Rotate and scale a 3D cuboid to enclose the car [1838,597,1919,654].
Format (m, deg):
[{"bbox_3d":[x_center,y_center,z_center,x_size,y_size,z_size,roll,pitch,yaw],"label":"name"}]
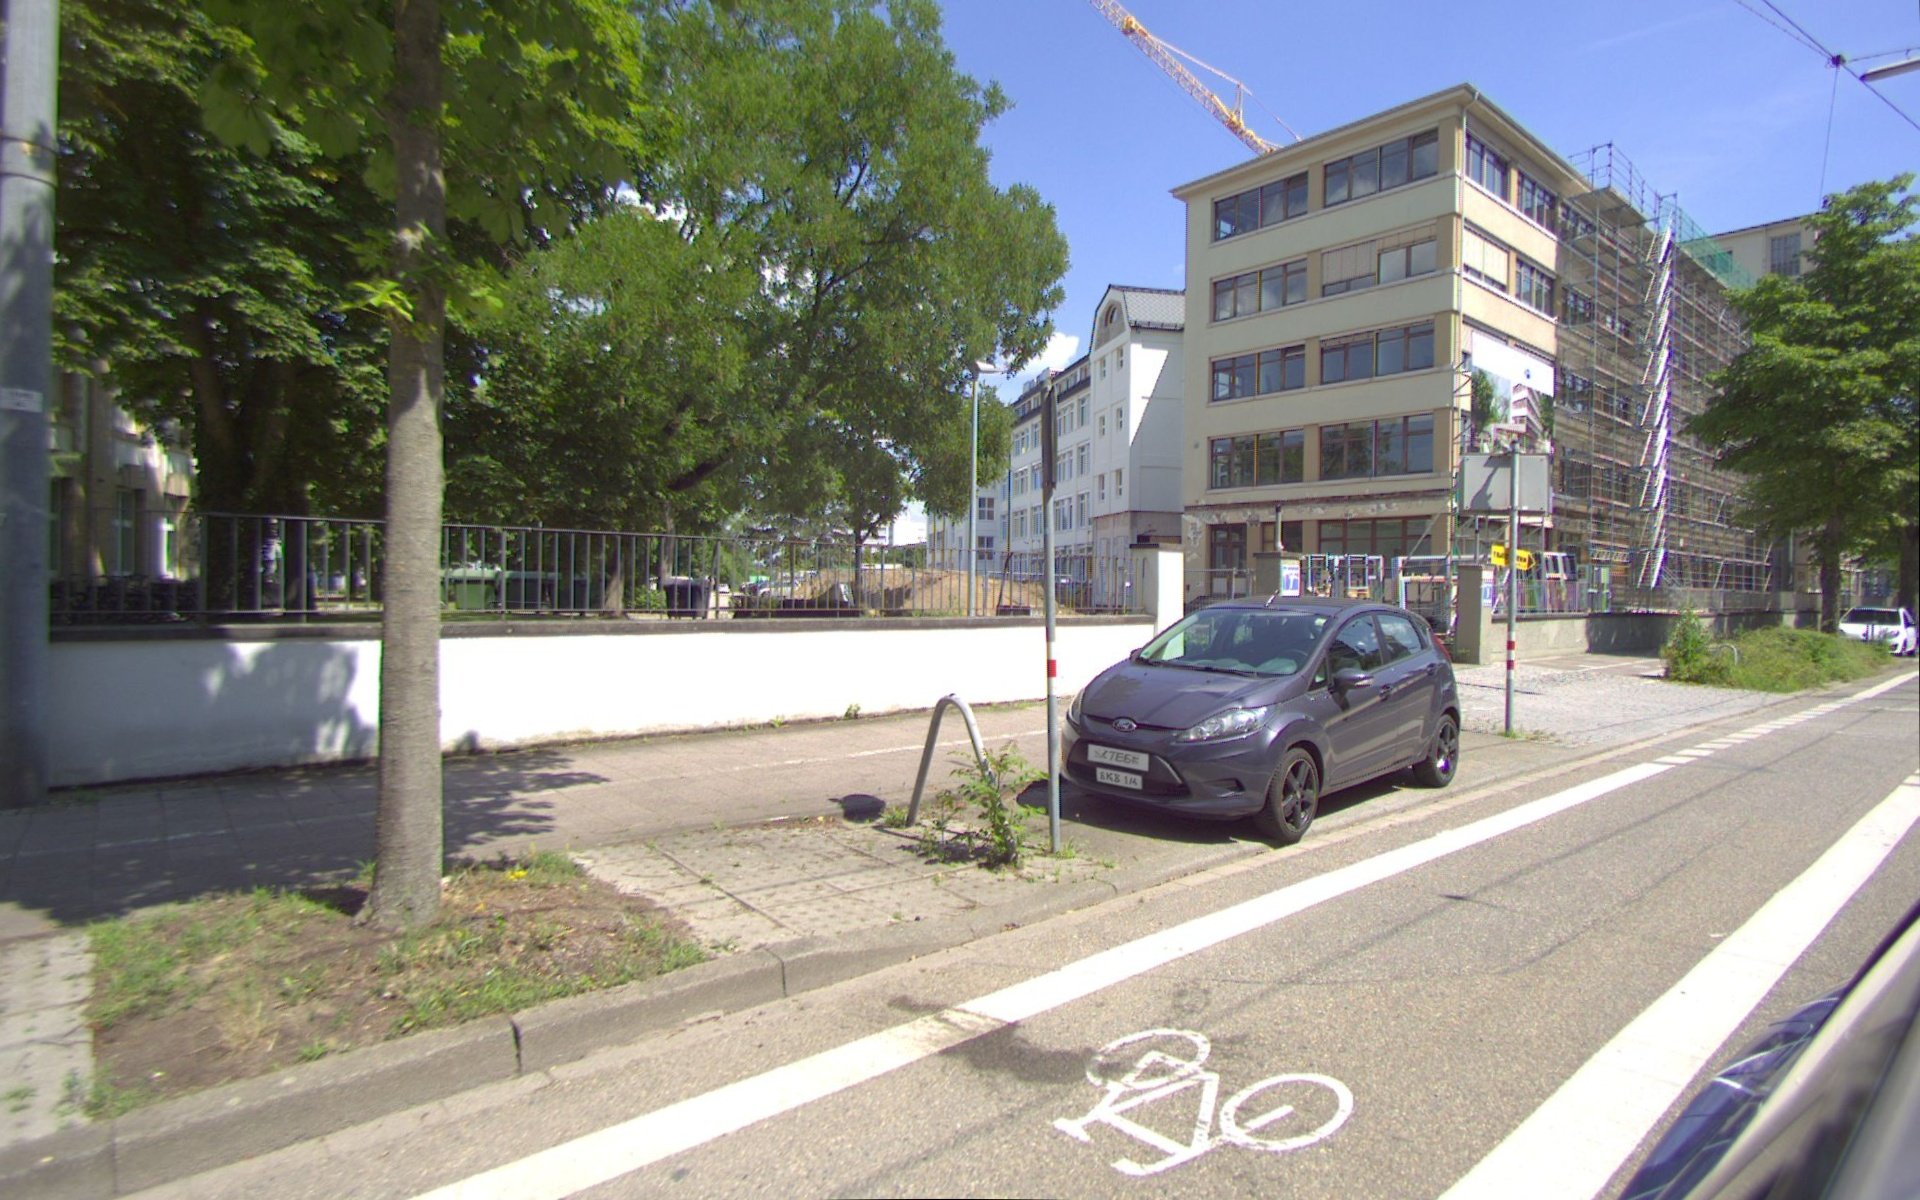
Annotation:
[{"bbox_3d":[27.263,0.705,29.711,3.717,1.554,1.648,1,0,-40],"label":"car"}]

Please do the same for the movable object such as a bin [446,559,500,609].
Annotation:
[{"bbox_3d":[-15.136,-0.499,31.485,1.360,1.481,1.412,1,1,-20],"label":"movable object such as a bin"}]

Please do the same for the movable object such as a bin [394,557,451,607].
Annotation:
[{"bbox_3d":[-16.543,-0.544,31.183,1.360,1.481,1.412,1,1,-20],"label":"movable object such as a bin"}]

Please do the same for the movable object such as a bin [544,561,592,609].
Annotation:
[{"bbox_3d":[-12.395,-0.481,32.069,1.360,1.481,1.412,1,1,-20],"label":"movable object such as a bin"}]

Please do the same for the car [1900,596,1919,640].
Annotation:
[{"bbox_3d":[36.159,0.670,37.440,3.878,1.554,1.647,1,0,-42],"label":"car"}]

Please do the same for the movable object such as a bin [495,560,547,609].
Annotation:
[{"bbox_3d":[-13.759,-0.496,31.756,1.360,1.481,1.412,1,1,-19],"label":"movable object such as a bin"}]

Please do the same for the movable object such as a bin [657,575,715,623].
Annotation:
[{"bbox_3d":[-8.765,-0.044,32.412,1.366,1.481,1.406,1,1,8],"label":"movable object such as a bin"}]

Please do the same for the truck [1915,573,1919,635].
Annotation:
[{"bbox_3d":[41.949,0.195,42.624,5.853,2.520,2.017,1,0,-42],"label":"truck"}]

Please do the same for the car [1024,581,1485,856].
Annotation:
[{"bbox_3d":[2.362,0.628,7.540,3.809,1.504,1.640,-1,2,-44],"label":"car"}]
